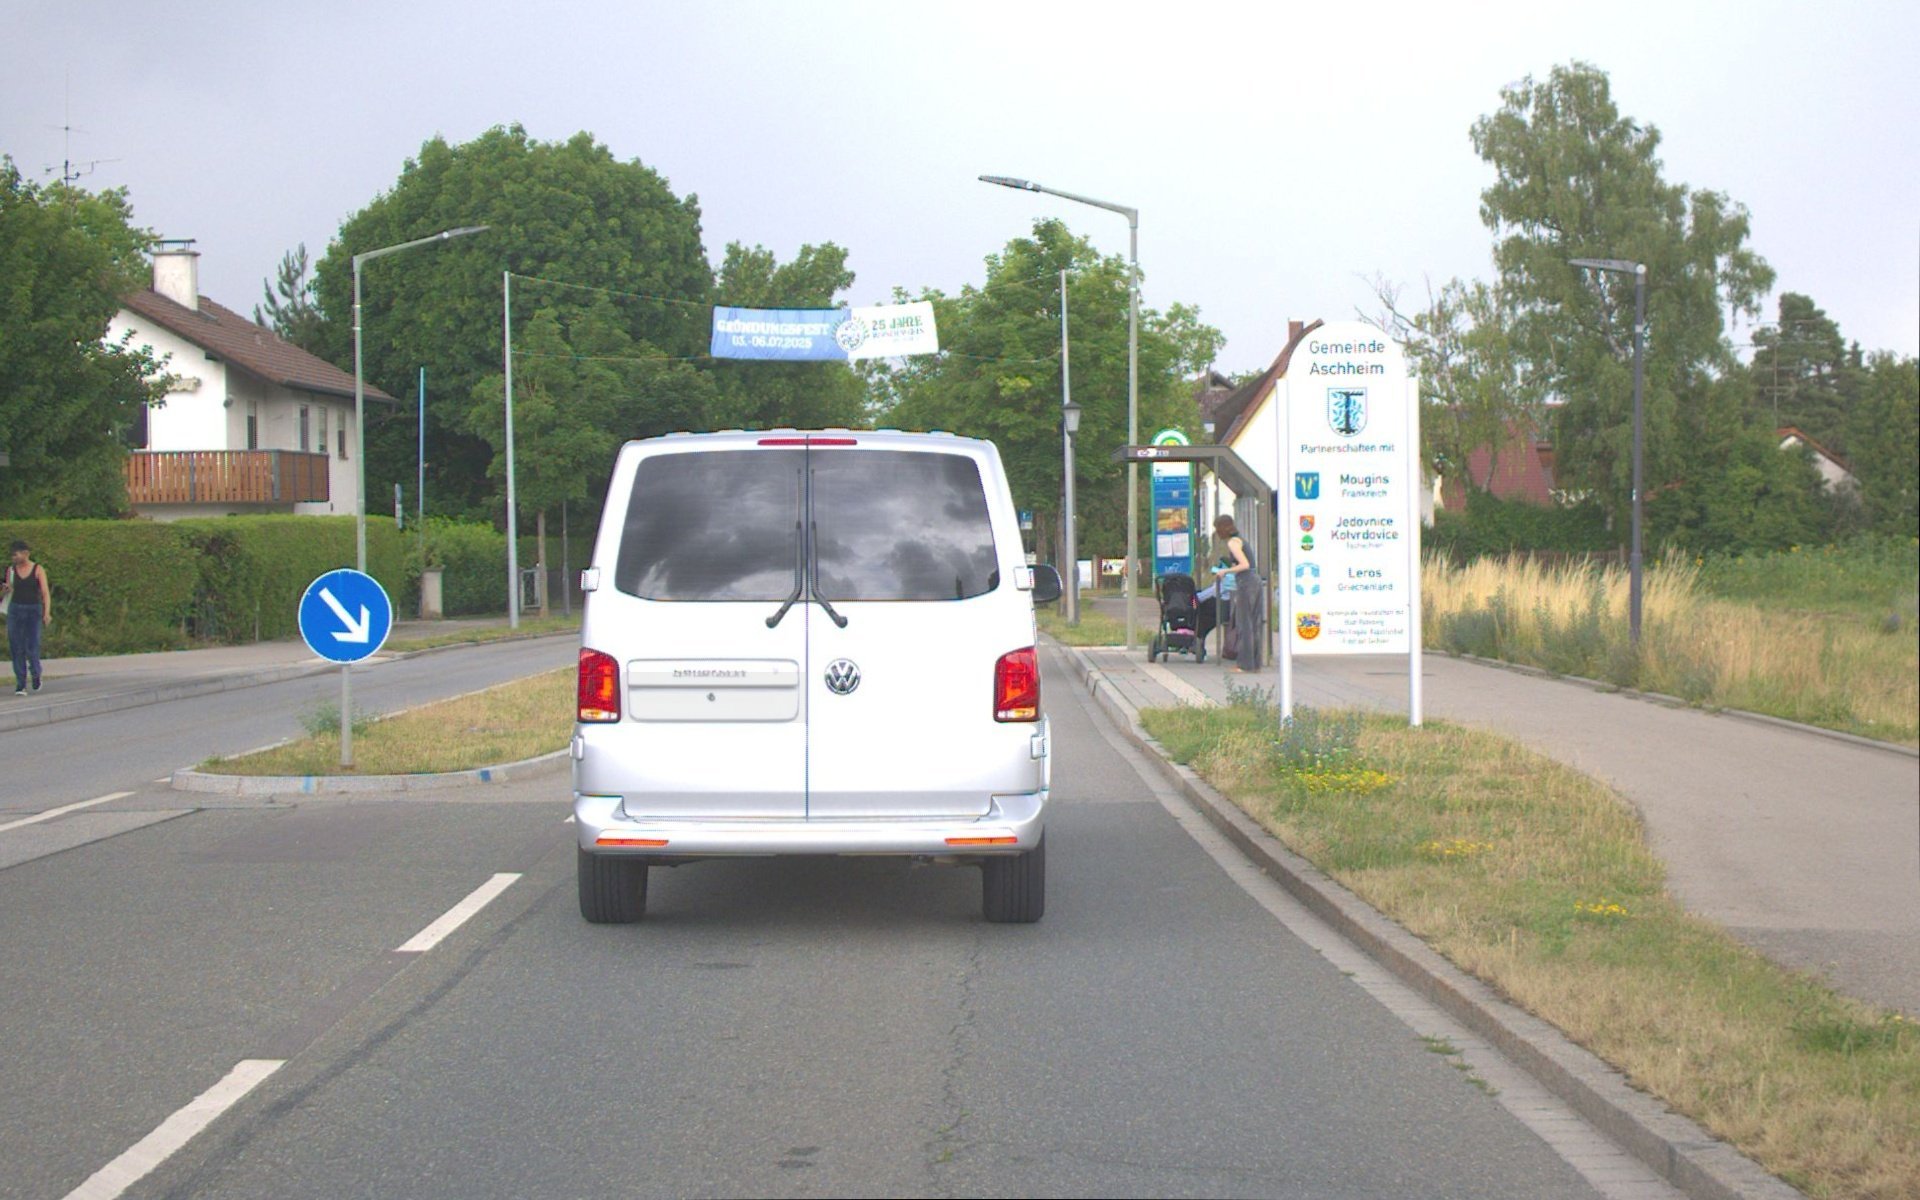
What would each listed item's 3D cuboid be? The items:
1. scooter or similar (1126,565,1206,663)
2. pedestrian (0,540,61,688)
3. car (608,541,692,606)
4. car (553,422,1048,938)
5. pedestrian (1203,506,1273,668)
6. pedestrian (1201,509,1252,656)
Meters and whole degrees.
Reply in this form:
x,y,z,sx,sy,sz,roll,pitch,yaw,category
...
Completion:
x,y,z,sx,sy,sz,roll,pitch,yaw,category
2.448,0.158,40.949,0.848,1.100,1.094,-3,1,0,scooter or similar
-9.895,0.142,36.170,0.623,1.519,0.680,-3,1,0,pedestrian
-7.388,-0.655,82.198,1.653,1.424,3.602,-3,1,0,car
-0.646,0.250,14.718,1.825,1.907,4.001,0,1,-2,car
3.036,-0.144,37.568,0.640,1.726,0.486,-2,1,11,pedestrian
3.194,-0.217,41.237,0.485,1.726,0.642,-3,1,-1,pedestrian
